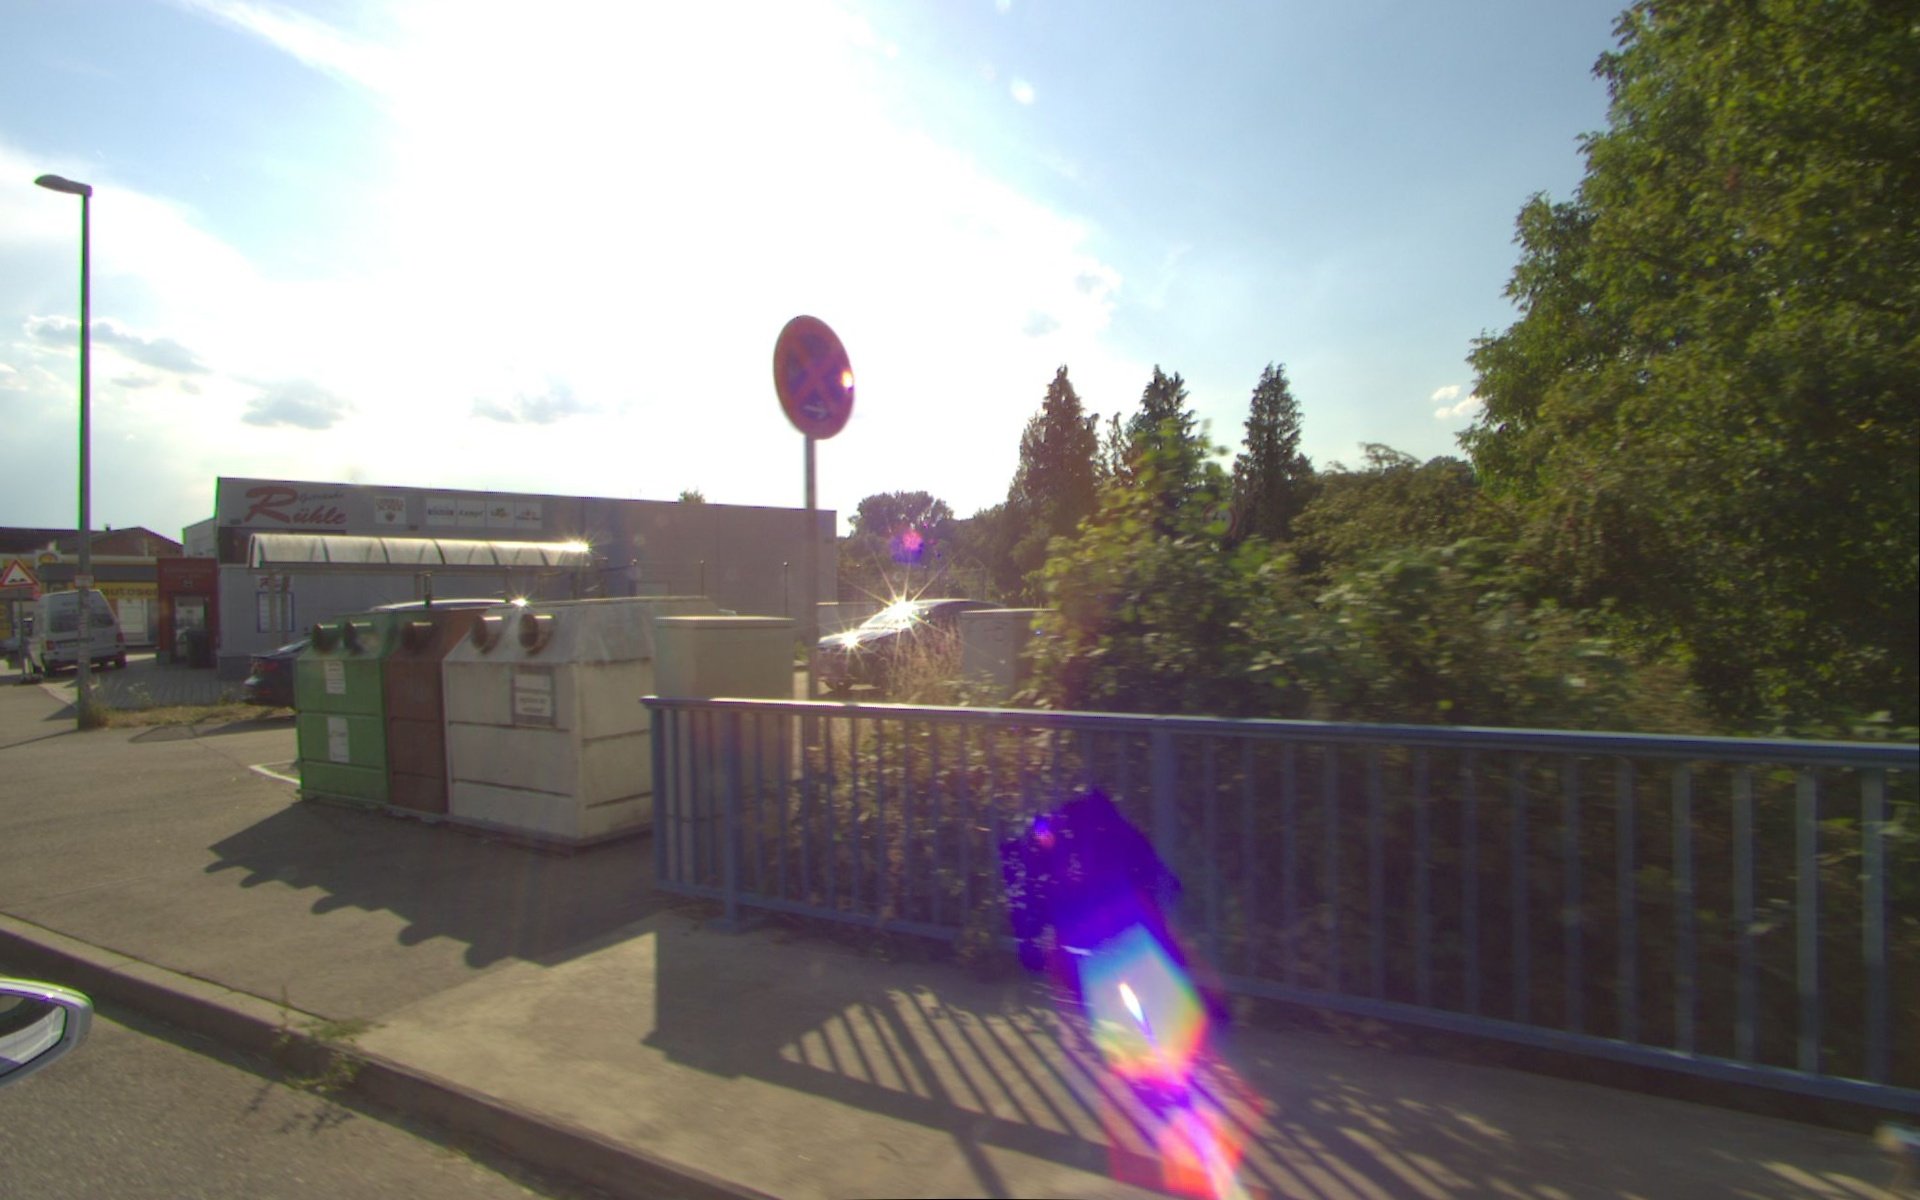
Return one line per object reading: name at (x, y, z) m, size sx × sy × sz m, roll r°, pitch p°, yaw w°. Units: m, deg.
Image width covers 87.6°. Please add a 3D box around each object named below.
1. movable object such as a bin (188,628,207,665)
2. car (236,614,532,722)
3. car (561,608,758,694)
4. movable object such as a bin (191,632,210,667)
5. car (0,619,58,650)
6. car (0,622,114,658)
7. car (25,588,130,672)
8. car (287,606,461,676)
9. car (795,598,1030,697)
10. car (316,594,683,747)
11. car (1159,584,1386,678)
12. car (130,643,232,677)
movable object such as a bin at (-22.069, 1.344, 28.999) m, size 0.425 × 1.056 × 0.486 m, roll -1°, pitch 1°, yaw -37°
car at (-9.544, 1.049, 16.765) m, size 4.032 × 1.435 × 1.612 m, roll -2°, pitch 0°, yaw -41°
car at (-5.928, 0.958, 19.912) m, size 3.409 × 1.435 × 1.486 m, roll -2°, pitch 1°, yaw -41°
movable object such as a bin at (-21.574, 1.395, 28.448) m, size 0.425 × 0.979 × 0.427 m, roll -1°, pitch 1°, yaw -37°
car at (-52.945, 1.907, 55.713) m, size 1.979 × 1.629 × 3.963 m, roll -1°, pitch 0°, yaw 44°
car at (-43.424, 1.906, 48.181) m, size 1.511 × 1.551 × 3.964 m, roll 0°, pitch 0°, yaw 43°
car at (-27.660, 0.899, 31.328) m, size 5.120 × 2.406 × 1.827 m, roll -1°, pitch 0°, yaw 42°
car at (-14.289, 0.938, 24.489) m, size 3.522 × 1.477 × 1.487 m, roll -2°, pitch 2°, yaw -36°
car at (-0.721, 0.743, 17.184) m, size 3.914 × 1.467 × 1.666 m, roll -1°, pitch -1°, yaw -45°
car at (-5.726, 0.779, 12.768) m, size 3.914 × 1.624 × 1.666 m, roll -1°, pitch -1°, yaw -45°
car at (6.048, 0.581, 19.641) m, size 3.910 × 1.675 × 1.667 m, roll -2°, pitch 0°, yaw 43°
car at (-40.147, 3.056, 51.656) m, size 1.696 × 1.488 × 3.885 m, roll 2°, pitch 1°, yaw 41°
